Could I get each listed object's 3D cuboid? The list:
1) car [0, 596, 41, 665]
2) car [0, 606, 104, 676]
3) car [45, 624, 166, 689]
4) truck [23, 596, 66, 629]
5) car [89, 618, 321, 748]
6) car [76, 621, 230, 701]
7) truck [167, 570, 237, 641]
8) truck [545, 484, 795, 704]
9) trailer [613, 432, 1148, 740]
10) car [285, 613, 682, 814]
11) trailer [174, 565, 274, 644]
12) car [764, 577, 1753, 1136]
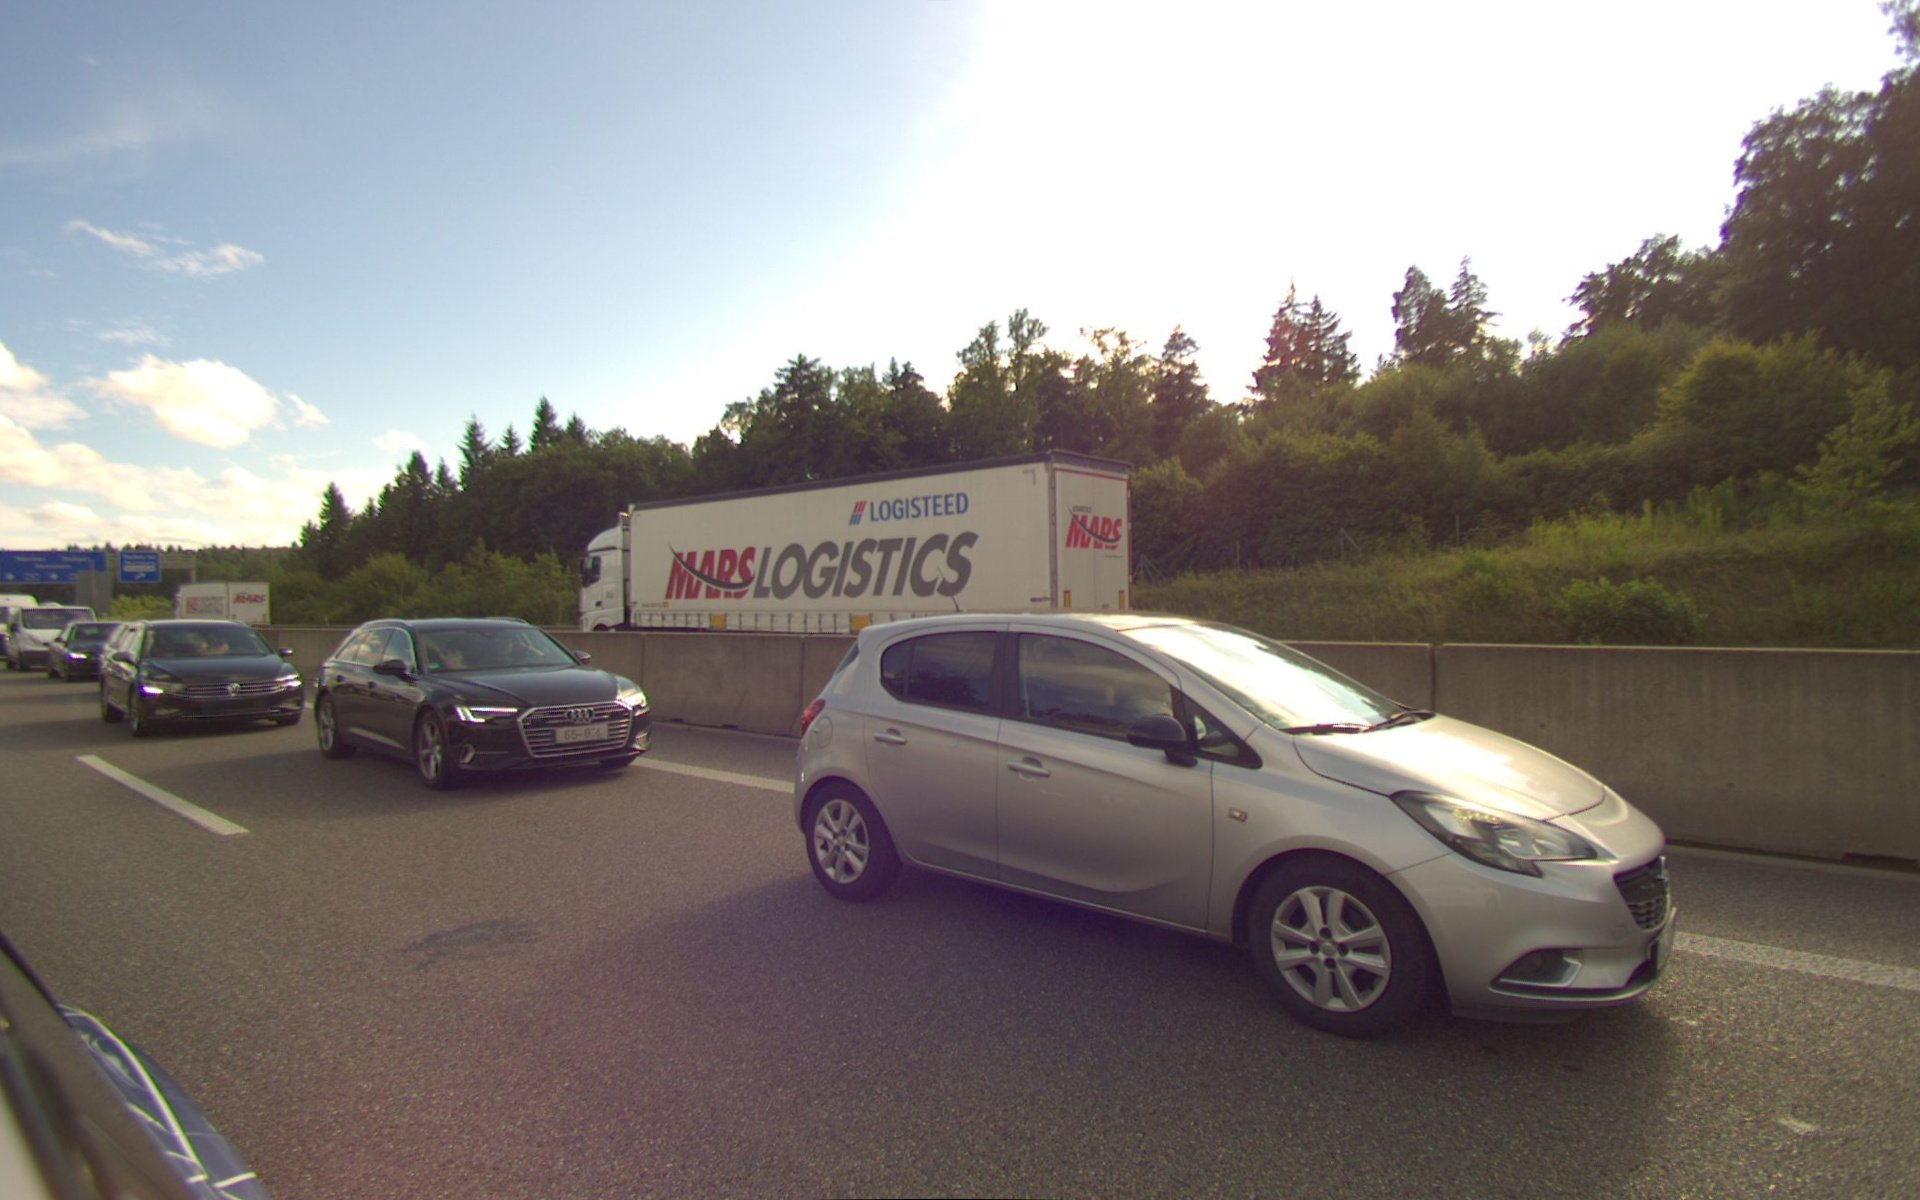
[{"bbox_3d":[-37.846,1.183,39.717,5.860,2.591,2.027,-1,-2,42],"label":"car"},{"bbox_3d":[-28.092,1.208,31.253,4.847,1.980,1.922,-1,-1,42],"label":"car"},{"bbox_3d":[-21.465,1.350,25.375,3.993,1.442,1.785,-1,-1,42],"label":"car"},{"bbox_3d":[-128.765,1.760,142.222,13.904,4.387,2.902,-1,0,41],"label":"truck"},{"bbox_3d":[-10.592,1.024,14.058,4.570,1.488,1.890,-1,-1,44],"label":"car"},{"bbox_3d":[-16.977,1.203,21.205,4.665,1.442,1.785,-1,0,42],"label":"car"},{"bbox_3d":[-59.076,0.436,78.801,6.880,5.292,3.007,-1,0,41],"label":"truck"},{"bbox_3d":[-7.919,-0.122,27.122,7.138,5.139,3.056,-1,0,41],"label":"truck"},{"bbox_3d":[-2.663,-0.191,22.502,13.828,5.112,3.056,-1,0,41],"label":"trailer"},{"bbox_3d":[-4.886,0.906,9.968,4.851,1.483,1.862,-1,-1,43],"label":"car"},{"bbox_3d":[-54.427,0.358,74.642,13.829,5.320,3.010,-1,0,41],"label":"trailer"},{"bbox_3d":[1.035,0.727,4.686,4.039,1.477,1.728,-2,-2,42],"label":"car"}]
